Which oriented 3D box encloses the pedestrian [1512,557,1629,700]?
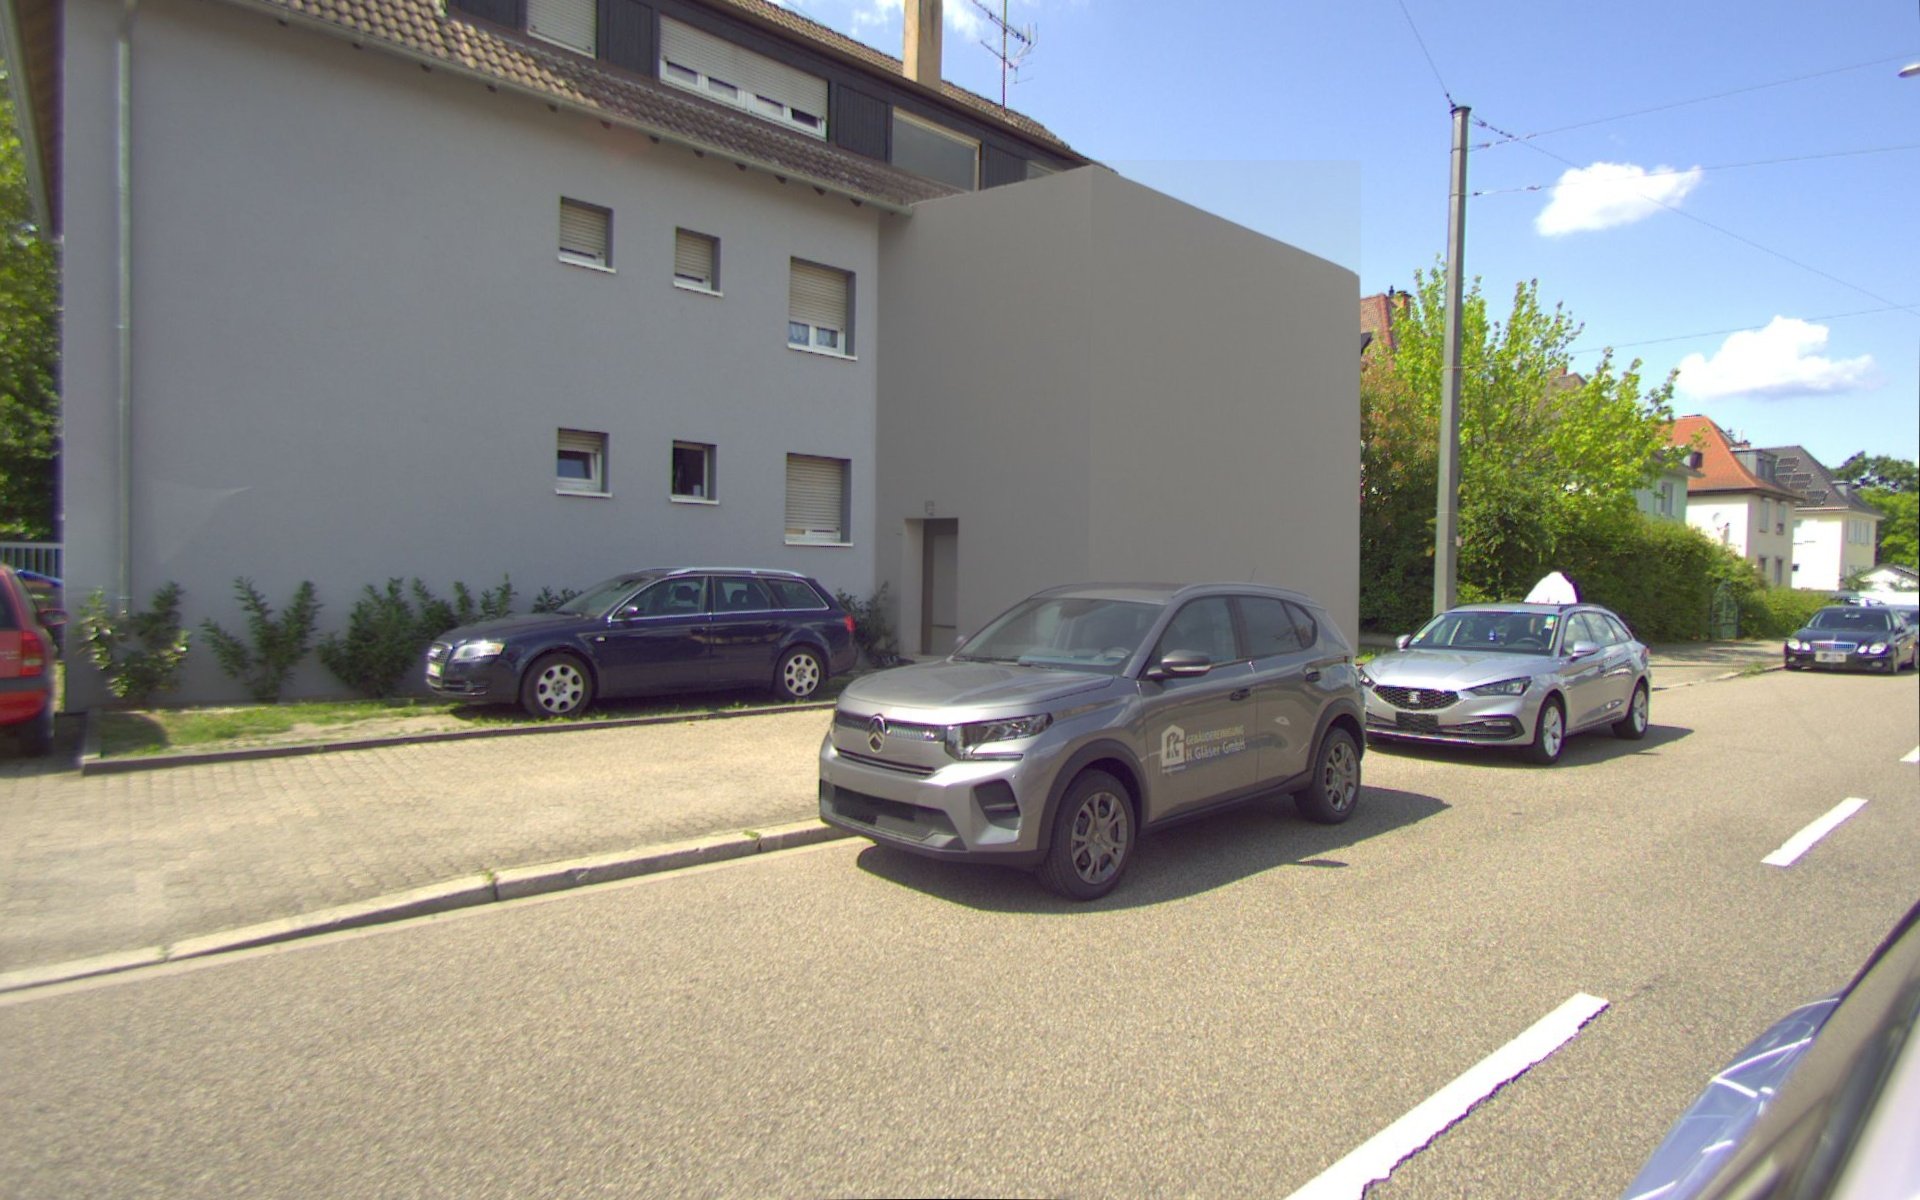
[{"bbox_3d":[8.875,0.365,14.720,1.072,1.970,1.115,0,2,-38],"label":"pedestrian"}]

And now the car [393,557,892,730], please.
[{"bbox_3d":[-3.189,0.334,10.830,4.772,1.441,1.802,0,3,-41],"label":"car"}]

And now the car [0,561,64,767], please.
[{"bbox_3d":[-8.128,0.393,7.881,1.697,1.397,3.654,-1,2,-42],"label":"car"}]

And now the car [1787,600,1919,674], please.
[{"bbox_3d":[20.172,0.744,22.423,4.966,1.462,1.904,0,0,-39],"label":"car"}]

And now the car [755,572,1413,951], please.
[{"bbox_3d":[1.014,0.640,6.310,4.181,1.579,1.809,-1,1,-42],"label":"car"}]

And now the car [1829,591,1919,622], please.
[{"bbox_3d":[52.099,0.344,57.017,1.730,1.478,4.465,0,3,-36],"label":"car"}]

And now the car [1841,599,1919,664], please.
[{"bbox_3d":[24.266,0.739,25.854,4.917,1.473,1.894,-1,1,-40],"label":"car"}]

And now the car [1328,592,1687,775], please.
[{"bbox_3d":[5.858,0.674,10.565,4.562,1.472,1.818,-1,1,-41],"label":"car"}]

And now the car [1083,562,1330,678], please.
[{"bbox_3d":[4.293,0.251,17.141,4.689,1.667,1.759,-1,3,-43],"label":"car"}]
